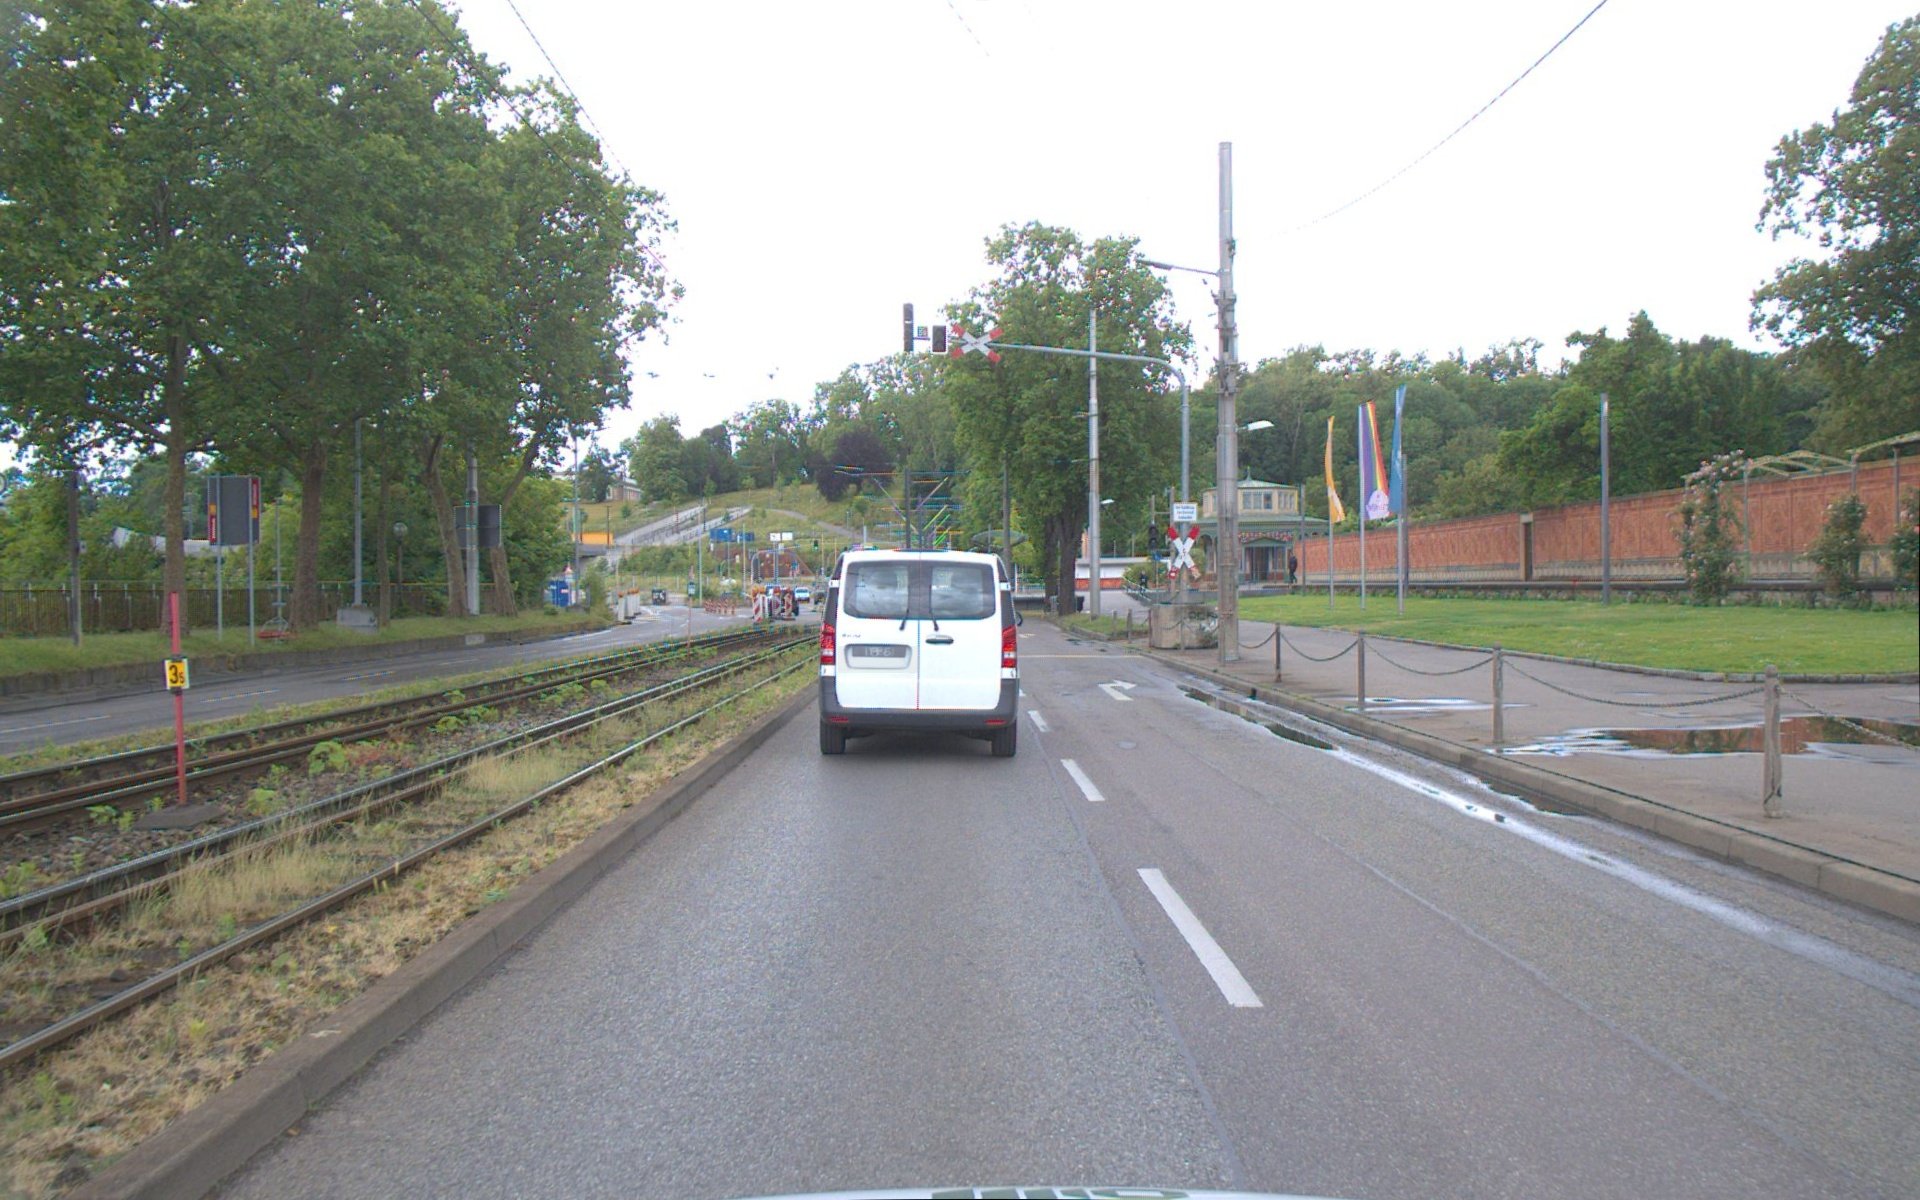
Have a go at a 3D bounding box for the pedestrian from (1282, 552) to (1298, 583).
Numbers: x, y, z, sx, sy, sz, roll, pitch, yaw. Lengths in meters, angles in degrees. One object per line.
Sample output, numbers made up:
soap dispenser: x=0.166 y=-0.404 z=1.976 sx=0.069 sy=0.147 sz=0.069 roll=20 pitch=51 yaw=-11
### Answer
pedestrian: x=20.264 y=-1.974 z=101.695 sx=0.929 sy=1.870 sz=0.550 roll=1 pitch=-1 yaw=11

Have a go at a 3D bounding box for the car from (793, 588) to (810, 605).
car: x=-18.962 y=-0.429 z=197.559 sx=1.896 sy=2.049 sz=3.996 roll=1 pitch=0 yaw=-4

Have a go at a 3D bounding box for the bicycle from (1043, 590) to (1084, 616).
bicycle: x=4.982 y=0.153 z=79.587 sx=1.949 sy=1.178 sz=0.741 roll=-1 pitch=0 yaw=4

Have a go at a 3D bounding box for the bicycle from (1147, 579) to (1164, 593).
bicycle: x=16.313 y=-1.160 z=138.008 sx=0.556 sy=1.080 sz=1.698 roll=1 pitch=0 yaw=-30

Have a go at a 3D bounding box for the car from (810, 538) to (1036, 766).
car: x=-0.348 y=0.445 z=16.375 sx=1.919 sy=1.937 sz=4.460 roll=0 pitch=0 yaw=-1

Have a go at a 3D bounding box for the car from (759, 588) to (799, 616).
car: x=-10.048 y=0.101 z=91.720 sx=1.806 sy=1.493 sz=4.050 roll=0 pitch=0 yaw=-12

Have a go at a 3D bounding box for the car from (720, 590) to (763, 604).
car: x=-25.781 y=-0.376 z=195.274 sx=4.608 sy=1.503 sz=2.002 roll=-2 pitch=1 yaw=10

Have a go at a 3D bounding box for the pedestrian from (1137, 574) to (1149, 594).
pedestrian: x=10.950 y=-0.959 z=99.113 sx=0.537 sy=1.222 sz=0.668 roll=1 pitch=-1 yaw=-7
